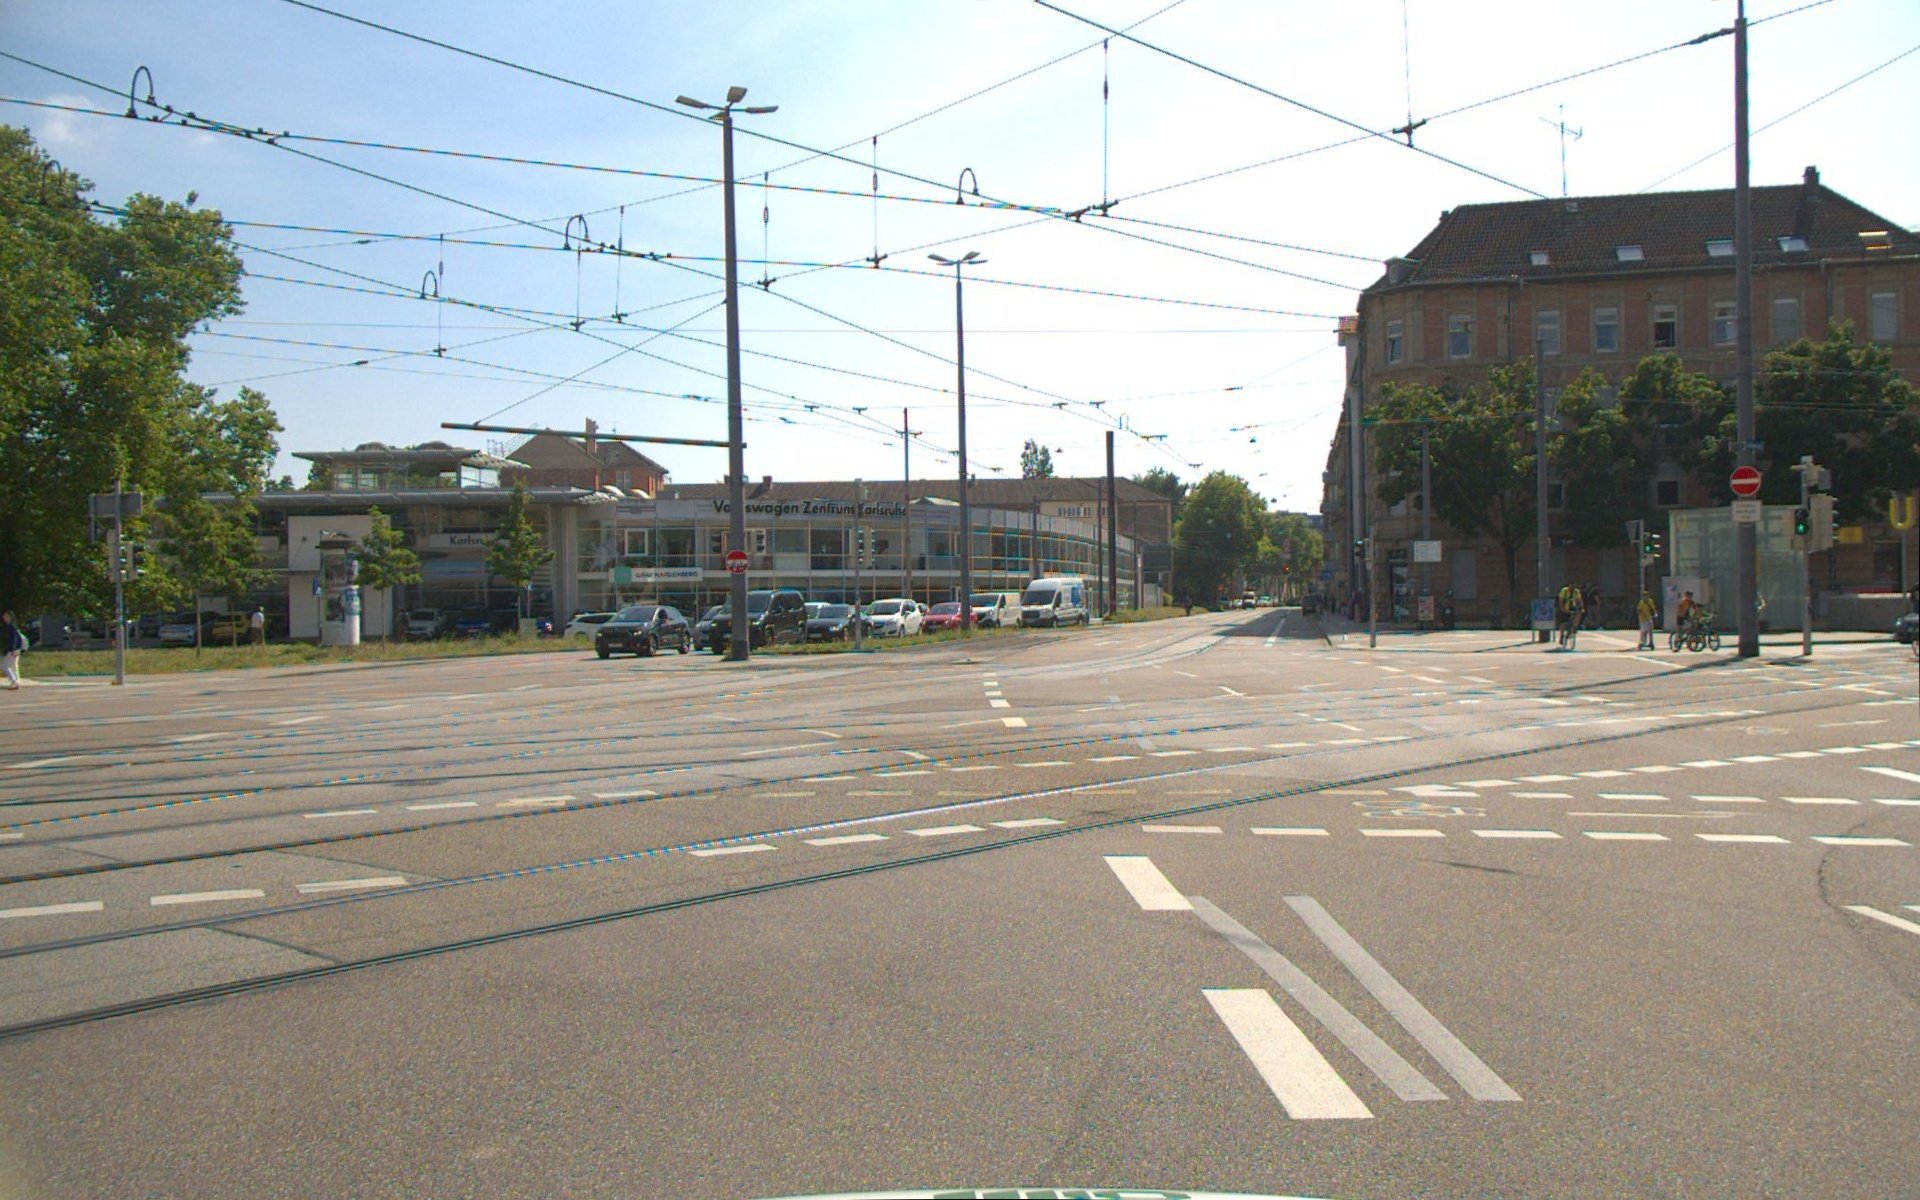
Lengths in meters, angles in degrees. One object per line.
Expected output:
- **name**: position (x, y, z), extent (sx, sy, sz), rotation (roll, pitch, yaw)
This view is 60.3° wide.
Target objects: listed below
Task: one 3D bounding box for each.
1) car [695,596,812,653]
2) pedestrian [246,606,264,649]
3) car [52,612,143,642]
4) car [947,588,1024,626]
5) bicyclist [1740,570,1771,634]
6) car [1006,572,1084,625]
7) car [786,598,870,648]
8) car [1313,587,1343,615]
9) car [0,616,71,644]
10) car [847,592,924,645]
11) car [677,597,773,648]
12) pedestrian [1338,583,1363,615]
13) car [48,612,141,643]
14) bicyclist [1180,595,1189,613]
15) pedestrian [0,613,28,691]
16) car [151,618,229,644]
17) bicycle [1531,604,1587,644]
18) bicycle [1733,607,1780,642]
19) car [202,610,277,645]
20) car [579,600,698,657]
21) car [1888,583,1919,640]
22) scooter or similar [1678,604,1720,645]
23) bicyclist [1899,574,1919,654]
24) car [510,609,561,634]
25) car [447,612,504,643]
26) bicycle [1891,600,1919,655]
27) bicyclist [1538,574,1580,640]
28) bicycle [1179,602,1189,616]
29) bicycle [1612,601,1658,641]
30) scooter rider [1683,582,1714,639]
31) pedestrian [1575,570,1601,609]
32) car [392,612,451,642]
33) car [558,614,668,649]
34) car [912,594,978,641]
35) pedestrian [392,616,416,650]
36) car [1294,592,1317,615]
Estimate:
- **car**: position (-6.205, 0.707, 50.289), extent (1.919, 1.615, 4.720), rotation (-1, 0, 14)
- **pedestrian**: position (-26.983, 1.059, 63.282), extent (0.384, 1.624, 0.464), rotation (0, -1, 21)
- **car**: position (-47.409, 1.488, 90.994), extent (3.909, 1.534, 1.998), rotation (-1, 0, -5)
- **car**: position (1.260, 0.339, 78.705), extent (2.140, 1.710, 5.031), rotation (-1, 0, 19)
- **bicyclist**: position (20.770, 0.045, 43.170), extent (0.490, 1.649, 0.650), rotation (1, 0, 2)
- **car**: position (4.479, -0.043, 85.887), extent (2.164, 2.621, 5.872), rotation (0, -1, 23)
- **car**: position (-4.499, 0.812, 56.935), extent (1.854, 1.616, 4.003), rotation (-1, -1, 11)
- **car**: position (27.841, 0.094, 125.258), extent (1.951, 2.049, 4.003), rotation (1, -1, 9)
- **car**: position (-48.313, 1.545, 85.223), extent (3.908, 1.395, 1.998), rotation (1, -1, -4)
- **car**: position (-2.859, 0.734, 64.324), extent (1.854, 1.950, 4.203), rotation (-1, -1, 14)
- **car**: position (-7.976, 0.785, 56.396), extent (1.854, 1.616, 4.003), rotation (-1, -1, 14)
- **pedestrian**: position (18.531, -0.049, 78.485), extent (0.870, 1.458, 0.708), rotation (-1, 0, 41)
- **car**: position (-46.210, 1.461, 88.384), extent (3.909, 1.579, 1.998), rotation (-1, 0, -5)
- **bicyclist**: position (20.213, 0.404, 148.908), extent (0.736, 1.595, 1.088), rotation (1, -1, 11)
- **pedestrian**: position (-20.101, 1.105, 35.129), extent (0.450, 1.633, 0.394), rotation (2, -2, -39)
- **car**: position (-39.405, 1.593, 84.755), extent (1.952, 1.266, 4.001), rotation (1, -1, 2)
- **bicycle**: position (17.123, 0.690, 47.336), extent (0.907, 1.088, 2.748), rotation (1, -1, 7)
- **bicycle**: position (20.765, 0.625, 43.134), extent (0.490, 0.881, 1.588), rotation (1, 0, 2)
- **car**: position (-37.113, 1.417, 85.277), extent (1.952, 1.713, 4.001), rotation (1, -1, 2)
- **car**: position (-9.558, 0.859, 49.492), extent (1.851, 1.616, 4.213), rotation (-1, -1, 14)
- **car**: position (28.719, 0.295, 47.405), extent (3.933, 1.611, 1.627), rotation (-1, 0, -23)
- **scooter or similar**: position (18.678, 0.620, 41.827), extent (0.575, 0.993, 0.991), rotation (1, -1, -3)
- **bicyclist**: position (19.999, 0.290, 34.415), extent (0.653, 1.652, 0.783), rotation (1, 0, 20)
- **car**: position (-21.737, 1.122, 84.856), extent (1.794, 1.216, 3.996), rotation (1, -1, -4)
- **car**: position (-24.881, 1.391, 85.071), extent (1.954, 1.512, 3.996), rotation (1, -1, -4)
- **bicycle**: position (19.995, 0.559, 34.429), extent (0.653, 1.088, 2.464), rotation (1, 0, 19)
- **bicyclist**: position (17.043, 0.206, 47.082), extent (0.907, 1.852, 1.053), rotation (1, -1, 6)
- **bicycle**: position (20.197, 0.812, 148.841), extent (0.736, 1.215, 2.841), rotation (1, -1, 11)
- **bicycle**: position (19.097, 0.582, 46.865), extent (0.907, 1.088, 2.843), rotation (1, 0, 16)
- **scooter rider**: position (18.681, 0.268, 41.837), extent (0.575, 1.422, 0.406), rotation (1, -1, -3)
- **pedestrian**: position (23.757, -0.391, 62.567), extent (0.608, 1.458, 0.702), rotation (2, -2, -40)
- **car**: position (-27.607, 1.381, 84.952), extent (1.954, 1.512, 3.996), rotation (1, -1, -4)
- **car**: position (-15.246, 1.387, 72.718), extent (4.486, 1.461, 1.445), rotation (1, -1, 11)
- **car**: position (-0.620, 0.789, 71.348), extent (1.854, 1.950, 4.203), rotation (-1, -1, 14)
- **pedestrian**: position (-27.023, 1.602, 80.394), extent (0.935, 1.608, 0.533), rotation (1, -1, -6)
- **car**: position (32.025, 0.300, 153.369), extent (2.063, 2.049, 4.003), rotation (1, -1, 11)
